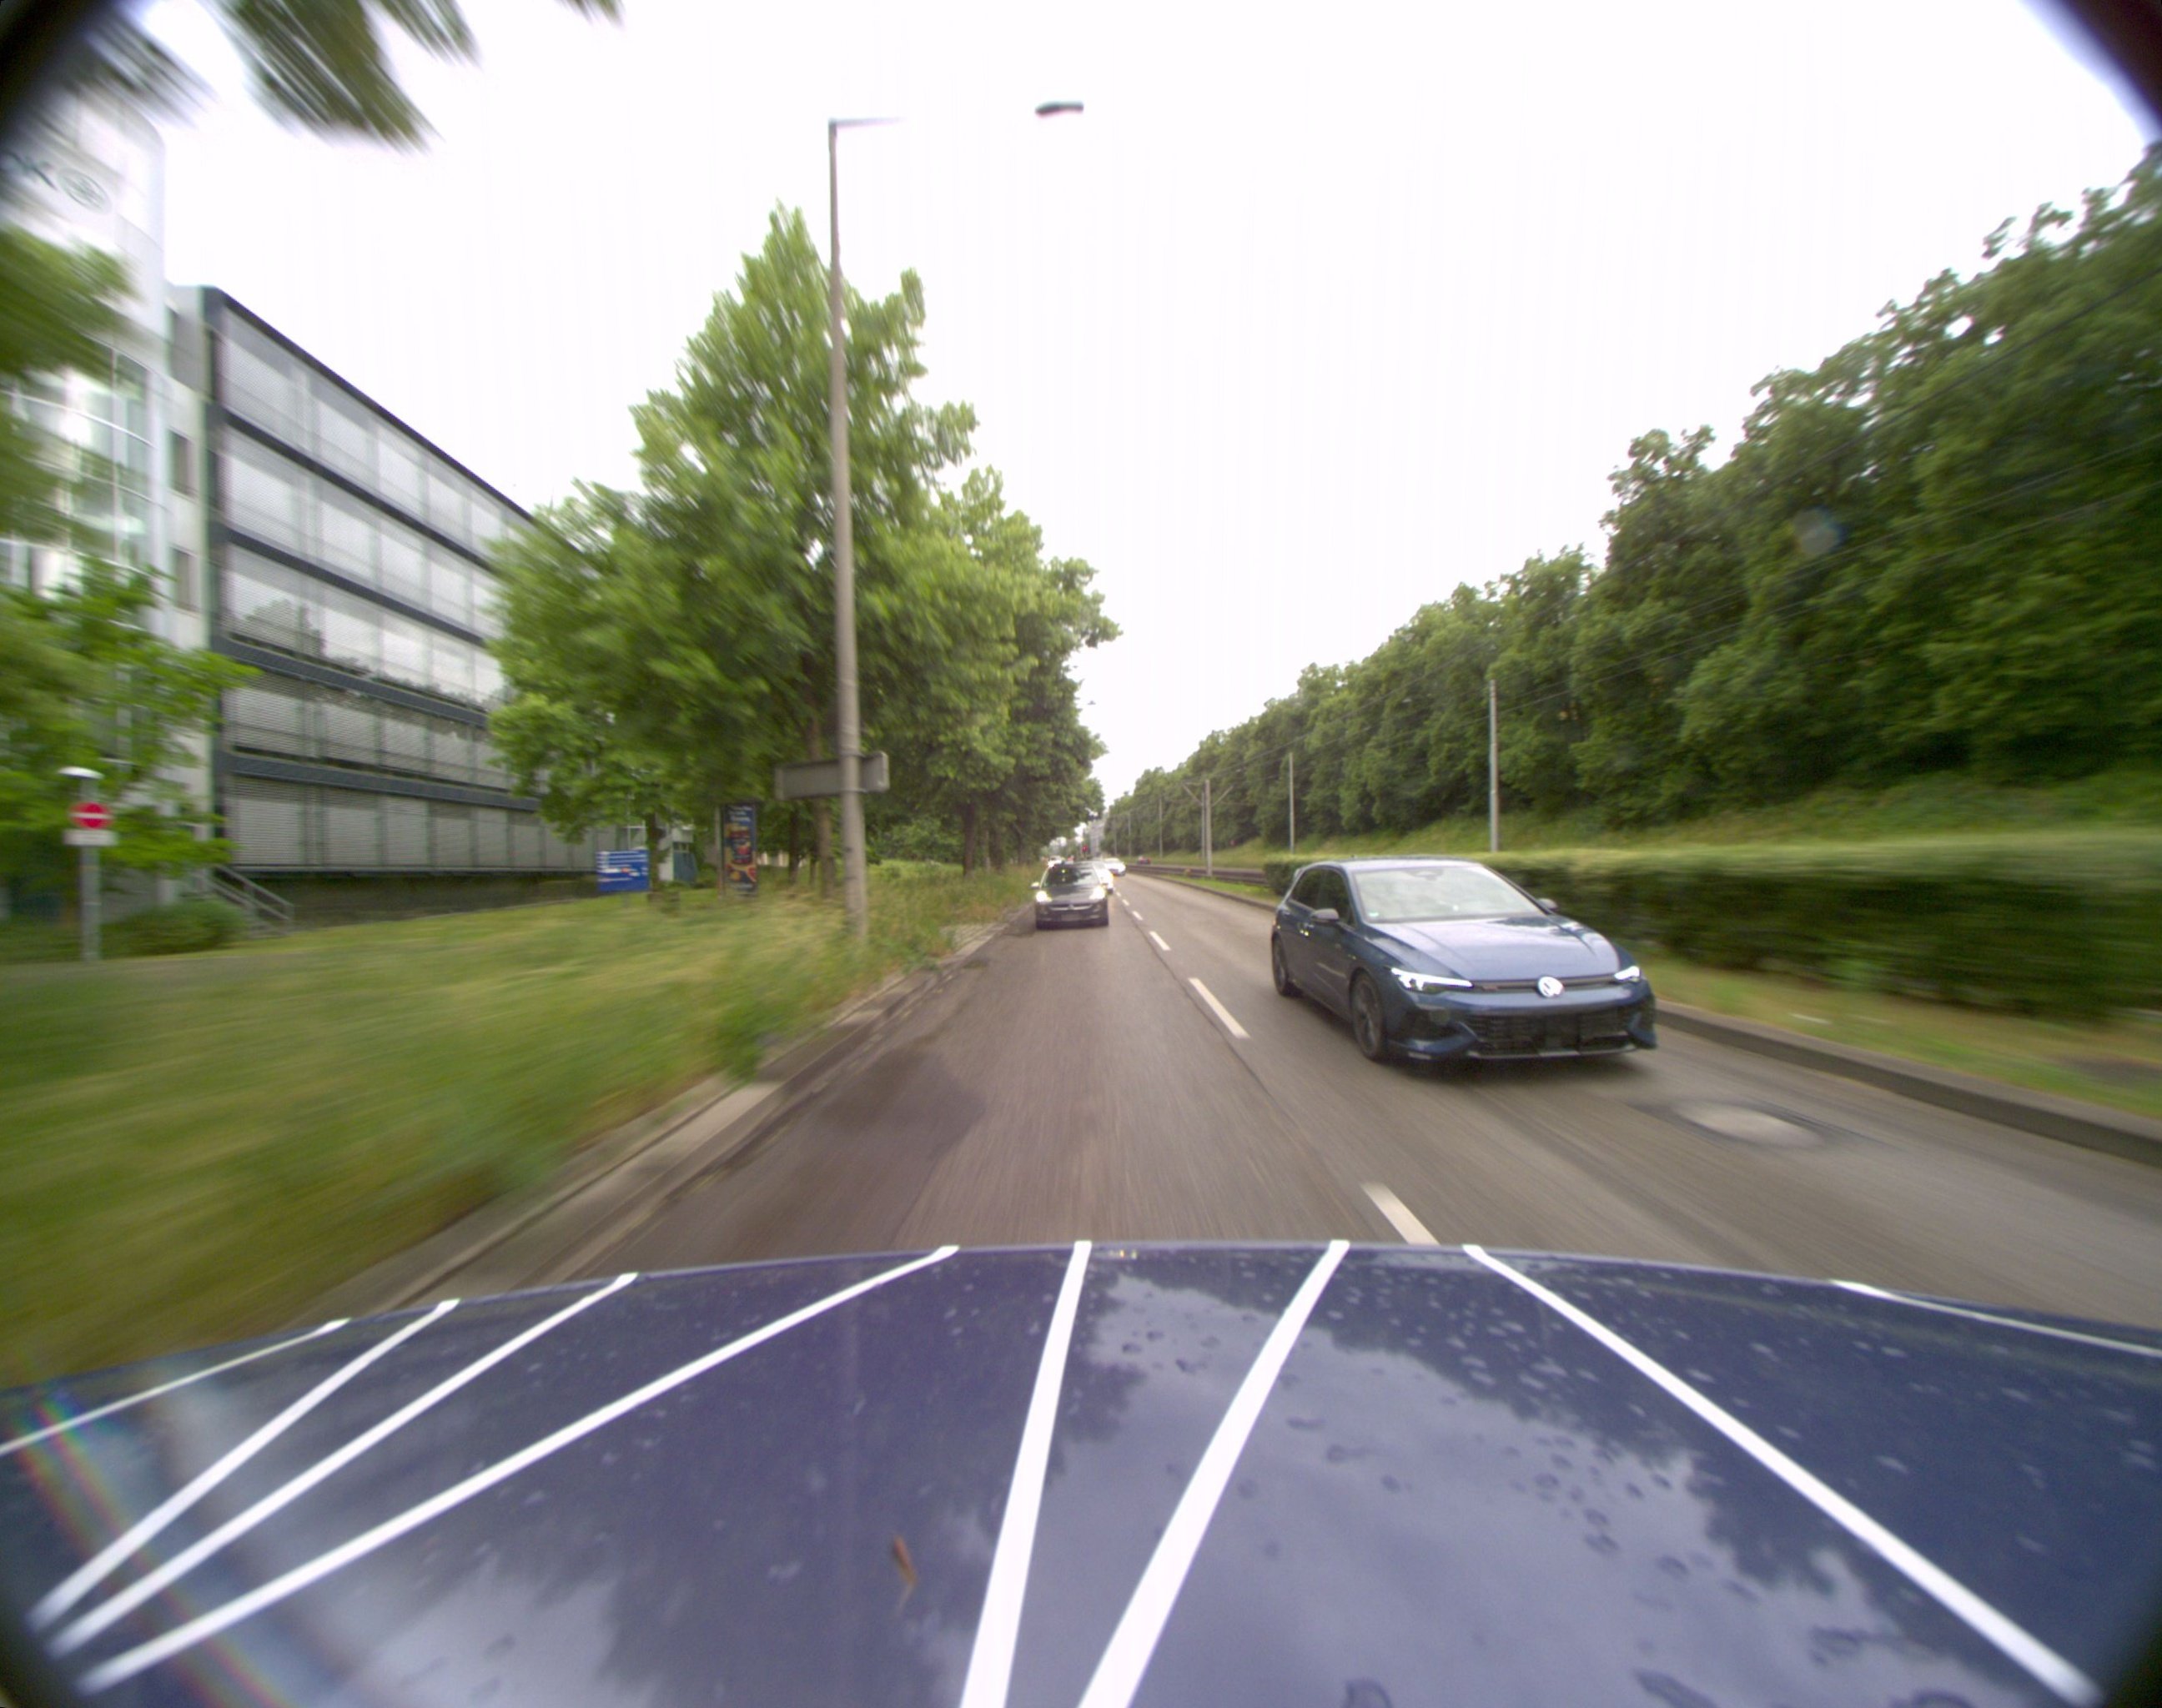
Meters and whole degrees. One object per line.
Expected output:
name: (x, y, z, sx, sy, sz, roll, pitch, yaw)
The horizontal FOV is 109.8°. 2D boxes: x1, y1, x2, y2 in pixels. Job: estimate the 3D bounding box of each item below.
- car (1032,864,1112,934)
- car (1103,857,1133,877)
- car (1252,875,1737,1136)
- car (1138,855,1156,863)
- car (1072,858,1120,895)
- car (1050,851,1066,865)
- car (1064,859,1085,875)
car: (-0.231, 1.014, 18.985, 1.711, 1.425, 4.428, -3, 0, -1)
car: (2.946, 1.037, 61.844, 1.960, 1.472, 4.698, -4, 0, -2)
car: (2.905, 0.942, 6.604, 1.813, 1.370, 4.347, -2, 0, 0)
car: (11.485, 0.853, 131.943, 2.000, 1.423, 4.428, -2, 0, -9)
car: (0.712, 0.954, 34.222, 1.960, 1.457, 4.700, -3, 0, 2)
car: (-3.416, 0.673, 113.681, 1.961, 1.914, 4.843, -4, 0, -5)
car: (-0.688, 1.339, 79.840, 1.960, 1.469, 4.699, -4, 0, -1)
